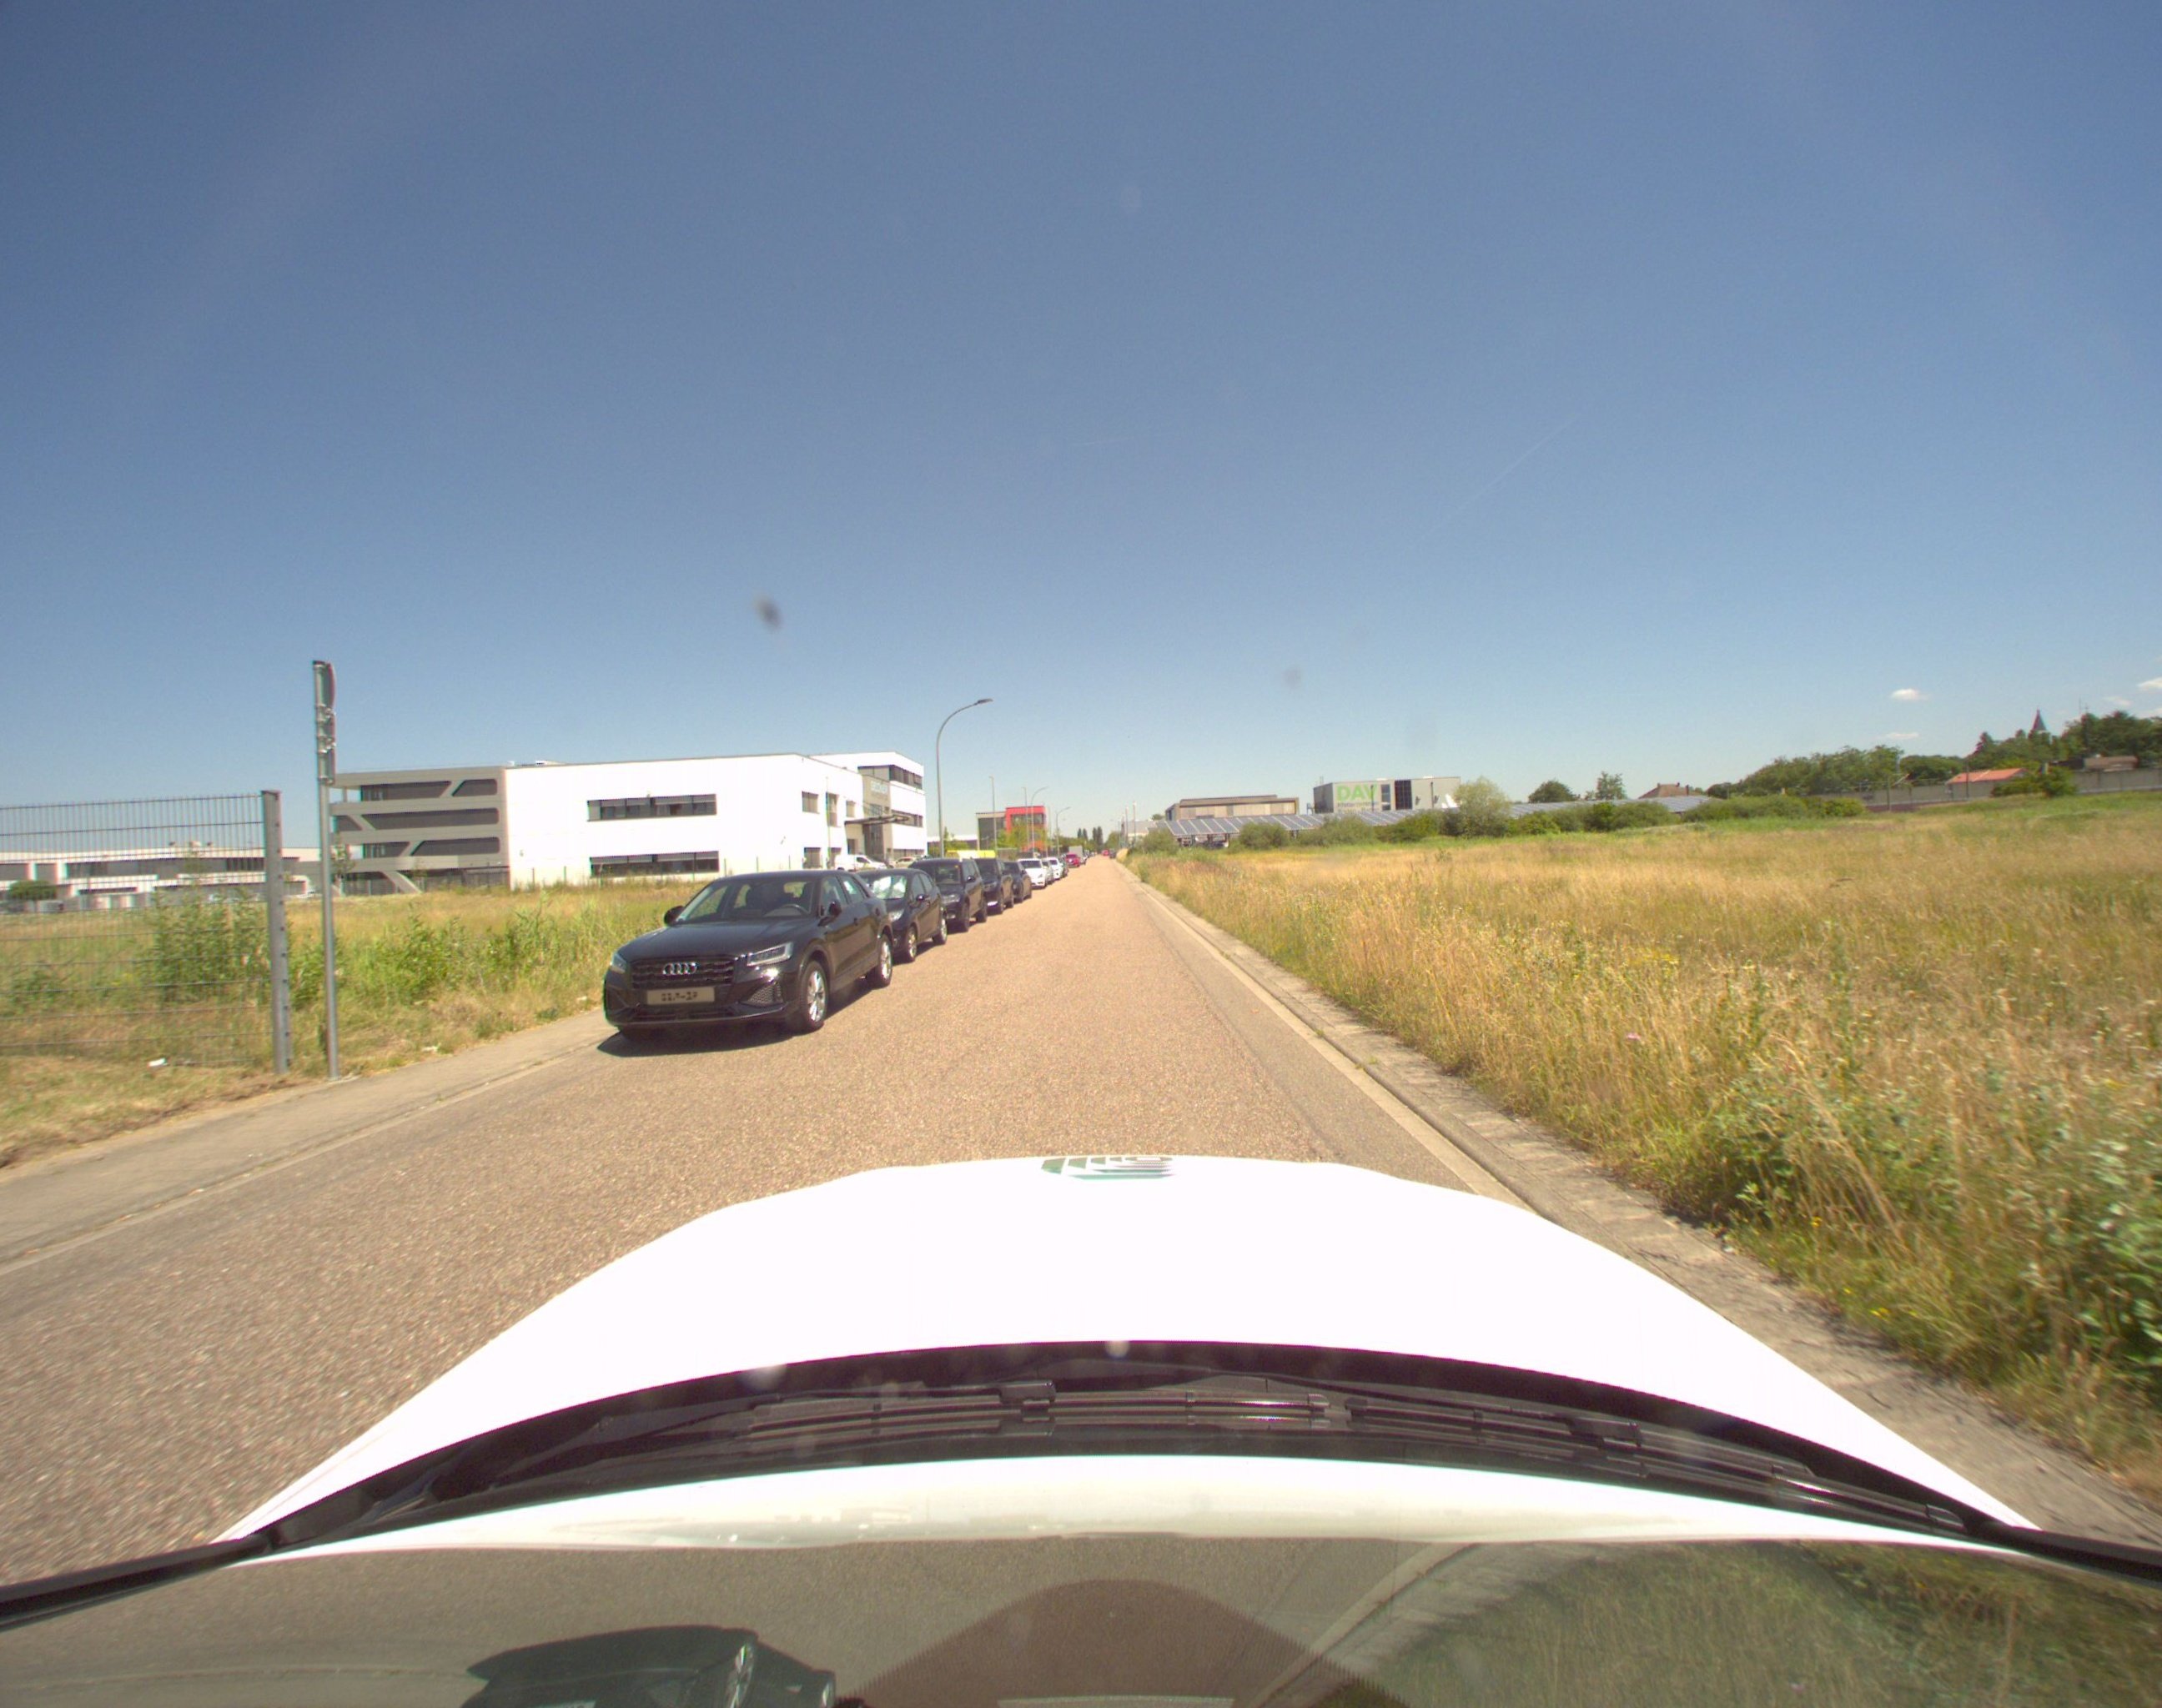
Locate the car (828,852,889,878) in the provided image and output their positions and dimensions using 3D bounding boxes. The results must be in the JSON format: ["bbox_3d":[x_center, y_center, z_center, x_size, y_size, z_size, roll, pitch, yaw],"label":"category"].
[{"bbox_3d":[-18.959,0.900,69.588,4.511,1.943,2.032,-3,0,1],"label":"car"}]

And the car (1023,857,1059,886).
[{"bbox_3d":[-2.338,0.998,48.416,1.780,1.520,3.984,-3,0,1],"label":"car"}]

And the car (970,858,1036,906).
[{"bbox_3d":[-2.826,0.978,30.487,1.762,1.486,5.016,-3,0,2],"label":"car"}]

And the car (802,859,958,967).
[{"bbox_3d":[-3.298,0.903,14.116,1.584,1.492,3.834,-3,0,1],"label":"car"}]

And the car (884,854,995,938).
[{"bbox_3d":[-3.197,0.874,19.196,1.671,1.663,4.237,-3,0,1],"label":"car"}]

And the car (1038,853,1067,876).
[{"bbox_3d":[-2.047,0.756,59.249,1.780,1.520,3.984,-3,0,1],"label":"car"}]

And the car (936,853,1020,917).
[{"bbox_3d":[-2.998,0.852,24.655,1.762,1.663,4.553,-3,0,1],"label":"car"}]

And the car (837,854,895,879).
[{"bbox_3d":[-19.055,1.076,72.383,4.511,1.943,2.032,-3,0,1],"label":"car"}]

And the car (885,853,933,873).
[{"bbox_3d":[-18.366,0.963,87.093,4.511,1.943,2.032,-3,0,1],"label":"car"}]

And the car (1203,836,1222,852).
[{"bbox_3d":[17.811,-1.308,110.280,1.986,2.013,4.001,-3,0,1],"label":"car"}]

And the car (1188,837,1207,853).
[{"bbox_3d":[15.696,-1.205,110.149,1.986,2.013,4.001,-3,0,1],"label":"car"}]

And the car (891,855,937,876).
[{"bbox_3d":[-18.331,1.252,89.722,4.511,1.943,2.032,-3,0,1],"label":"car"}]

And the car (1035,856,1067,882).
[{"bbox_3d":[-1.960,0.953,54.067,1.780,1.520,3.984,-3,0,1],"label":"car"}]

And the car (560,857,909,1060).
[{"bbox_3d":[-3.340,0.879,8.919,1.920,1.567,4.190,-3,0,0],"label":"car"}]

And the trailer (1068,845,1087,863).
[{"bbox_3d":[-0.442,-0.011,102.723,2.193,2.137,4.287,-3,0,1],"label":"trailer"}]

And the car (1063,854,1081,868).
[{"bbox_3d":[-0.938,0.768,90.813,1.780,1.520,3.984,-3,0,1],"label":"car"}]

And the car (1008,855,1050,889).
[{"bbox_3d":[-2.649,0.898,42.313,1.780,1.520,3.984,-3,0,1],"label":"car"}]
